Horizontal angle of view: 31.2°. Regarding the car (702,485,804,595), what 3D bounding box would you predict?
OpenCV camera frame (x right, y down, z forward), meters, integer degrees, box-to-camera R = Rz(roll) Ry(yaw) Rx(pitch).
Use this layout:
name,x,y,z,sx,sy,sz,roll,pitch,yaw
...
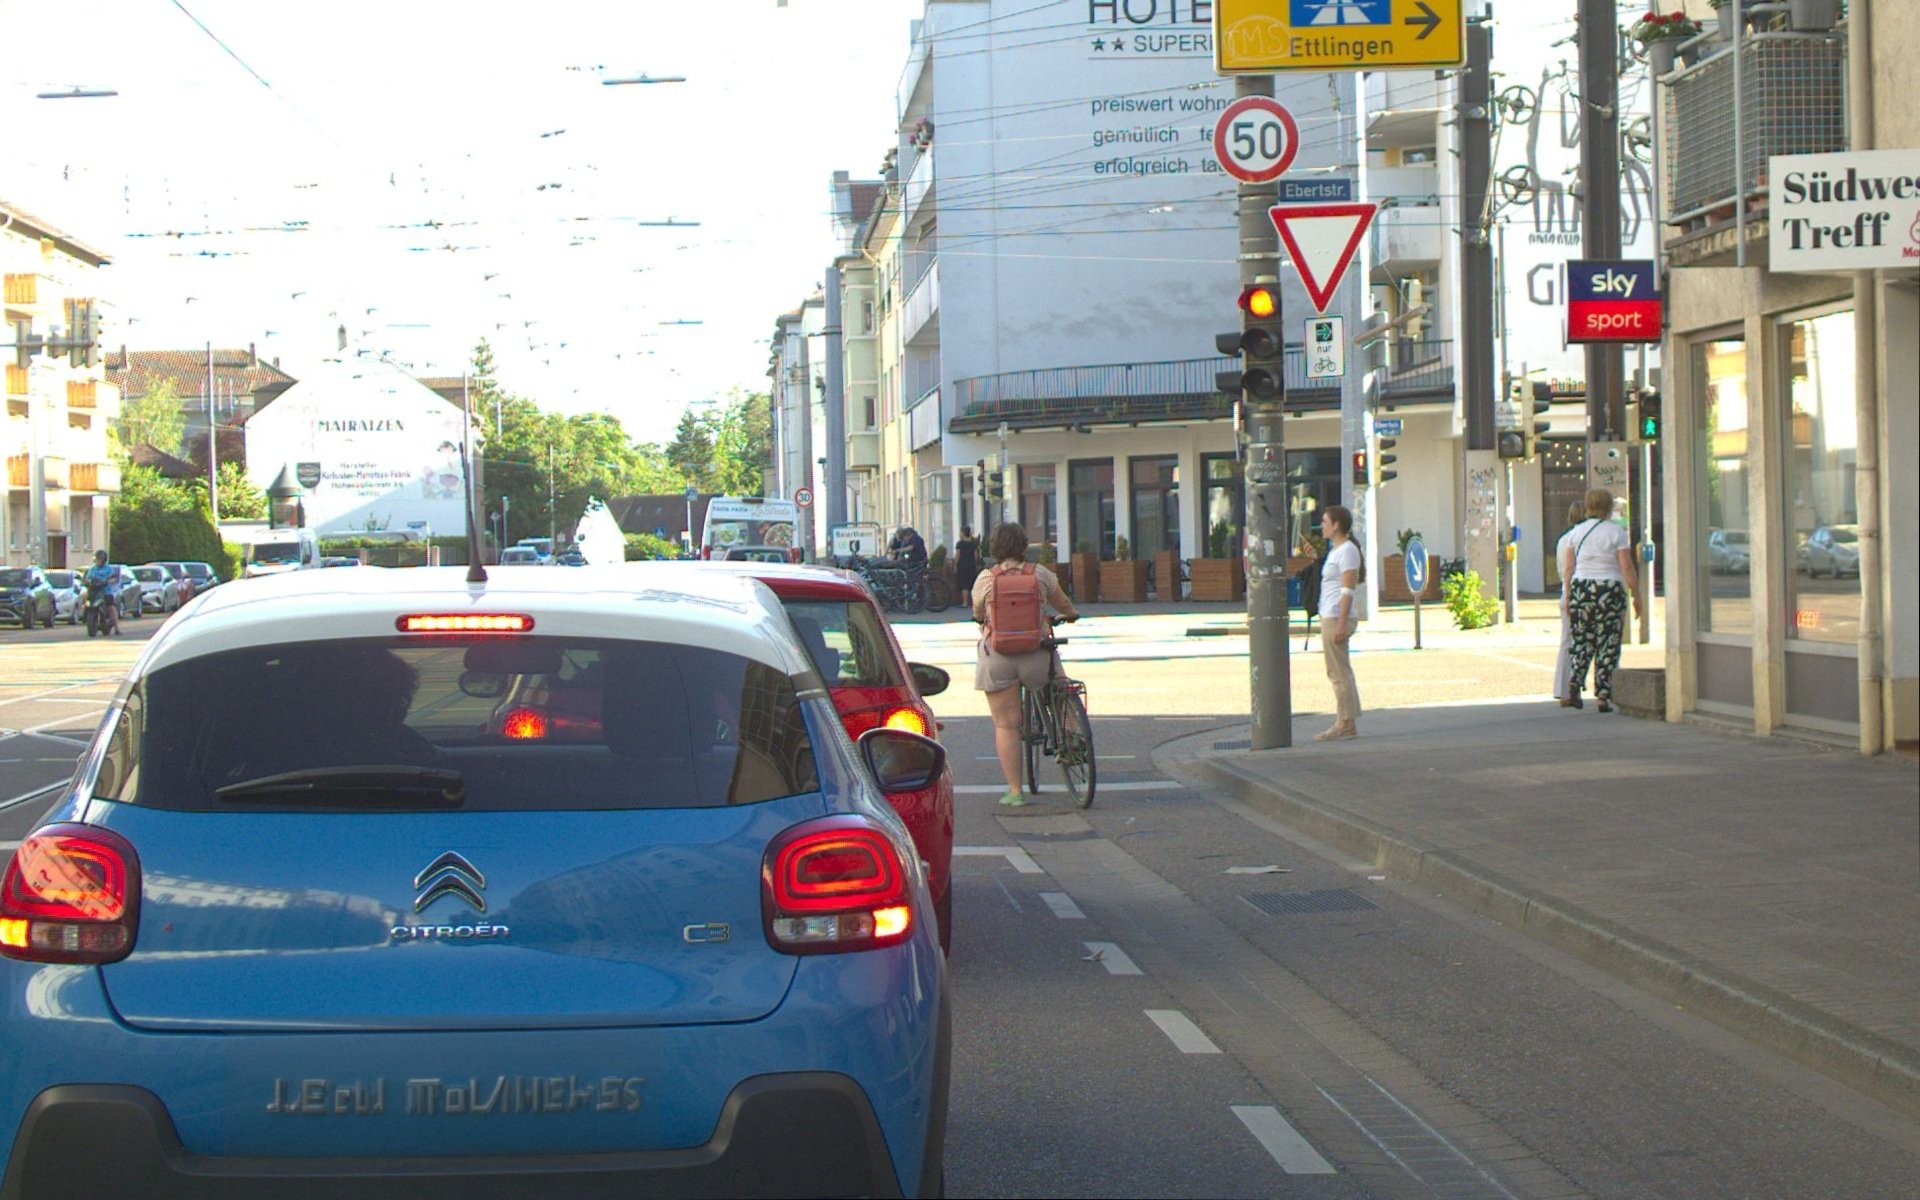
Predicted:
name,x,y,z,sx,sy,sz,roll,pitch,yaw
car,-4.432,-1.284,73.253,2.079,2.262,5.652,0,1,-4

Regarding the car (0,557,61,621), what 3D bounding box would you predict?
name,x,y,z,sx,sy,sz,roll,pitch,yaw
car,-23.786,-0.273,85.899,1.950,1.514,4.001,-1,1,-6

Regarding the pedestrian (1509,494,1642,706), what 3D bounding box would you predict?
name,x,y,z,sx,sy,sz,roll,pitch,yaw
pedestrian,4.881,-0.008,27.275,0.700,1.642,0.740,-2,1,-36

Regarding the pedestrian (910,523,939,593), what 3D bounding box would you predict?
name,x,y,z,sx,sy,sz,roll,pitch,yaw
pedestrian,-0.719,-0.855,70.019,0.467,1.415,0.527,-2,1,-13

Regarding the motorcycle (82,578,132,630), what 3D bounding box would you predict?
name,x,y,z,sx,sy,sz,roll,pitch,yaw
motorcycle,-16.693,0.069,67.297,0.751,0.973,2.098,-1,1,-9

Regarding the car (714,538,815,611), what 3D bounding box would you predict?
name,x,y,z,sx,sy,sz,roll,pitch,yaw
car,-3.881,-0.521,67.817,1.786,1.354,3.915,-1,1,-6

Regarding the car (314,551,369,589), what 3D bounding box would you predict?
name,x,y,z,sx,sy,sz,roll,pitch,yaw
car,-25.983,-1.291,144.578,1.950,1.514,4.001,-1,1,-6

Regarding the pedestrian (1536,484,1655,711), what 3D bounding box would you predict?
name,x,y,z,sx,sy,sz,roll,pitch,yaw
pedestrian,4.700,-0.026,25.394,0.738,1.642,0.753,-1,1,19

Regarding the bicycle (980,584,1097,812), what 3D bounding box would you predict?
name,x,y,z,sx,sy,sz,roll,pitch,yaw
bicycle,0.454,0.558,20.654,0.613,1.260,1.911,-1,1,-1

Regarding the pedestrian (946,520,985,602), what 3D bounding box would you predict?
name,x,y,z,sx,sy,sz,roll,pitch,yaw
pedestrian,0.113,-0.798,70.145,0.553,1.642,0.538,-2,1,-44

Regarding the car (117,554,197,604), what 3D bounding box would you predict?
name,x,y,z,sx,sy,sz,roll,pitch,yaw
car,-25.362,-0.680,108.667,1.950,1.514,4.001,-1,1,-6

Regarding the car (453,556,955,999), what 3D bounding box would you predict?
name,x,y,z,sx,sy,sz,roll,pitch,yaw
car,-0.999,0.577,13.597,1.680,1.457,4.001,0,1,-4

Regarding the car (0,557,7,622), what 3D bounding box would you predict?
name,x,y,z,sx,sy,sz,roll,pitch,yaw
car,-23.320,-0.198,79.235,1.950,1.514,4.001,-1,1,-6

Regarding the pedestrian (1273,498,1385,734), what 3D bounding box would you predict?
name,x,y,z,sx,sy,sz,roll,pitch,yaw
pedestrian,2.614,0.105,24.388,0.751,1.629,0.740,-1,1,6

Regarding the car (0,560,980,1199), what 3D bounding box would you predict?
name,x,y,z,sx,sy,sz,roll,pitch,yaw
car,-0.951,0.669,7.387,1.680,1.457,4.001,0,1,-4

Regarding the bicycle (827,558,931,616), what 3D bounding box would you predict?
name,x,y,z,sx,sy,sz,roll,pitch,yaw
bicycle,-1.556,-0.249,65.827,1.904,1.061,0.642,-1,1,-7

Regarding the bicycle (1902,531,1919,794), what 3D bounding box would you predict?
name,x,y,z,sx,sy,sz,roll,pitch,yaw
bicycle,4.921,0.311,15.766,0.640,1.260,1.911,-1,1,-1

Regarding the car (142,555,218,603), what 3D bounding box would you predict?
name,x,y,z,sx,sy,sz,roll,pitch,yaw
car,-26.072,-0.729,115.009,1.950,1.514,4.001,-1,1,-6

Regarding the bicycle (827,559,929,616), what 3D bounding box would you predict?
name,x,y,z,sx,sy,sz,roll,pitch,yaw
bicycle,-1.605,-0.243,67.133,1.904,1.061,0.642,-1,1,-7

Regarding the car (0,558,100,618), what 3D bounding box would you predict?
name,x,y,z,sx,sy,sz,roll,pitch,yaw
car,-24.307,-0.341,91.957,1.950,1.514,4.001,-1,1,-6

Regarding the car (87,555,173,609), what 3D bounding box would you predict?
name,x,y,z,sx,sy,sz,roll,pitch,yaw
car,-24.928,-0.549,103.388,1.950,1.514,4.001,-1,1,-6

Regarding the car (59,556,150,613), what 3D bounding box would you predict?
name,x,y,z,sx,sy,sz,roll,pitch,yaw
car,-24.460,-0.464,98.384,1.950,1.514,4.001,-1,1,-6

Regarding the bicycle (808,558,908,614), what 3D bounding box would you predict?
name,x,y,z,sx,sy,sz,roll,pitch,yaw
bicycle,-2.025,-0.281,68.325,1.904,1.061,0.642,-1,1,-7

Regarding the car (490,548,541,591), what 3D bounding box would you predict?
name,x,y,z,sx,sy,sz,roll,pitch,yaw
car,-22.054,-1.515,170.851,2.338,2.032,5.051,-1,1,-6

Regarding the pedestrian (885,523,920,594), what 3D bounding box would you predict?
name,x,y,z,sx,sy,sz,roll,pitch,yaw
pedestrian,-1.174,-0.851,70.210,0.525,1.415,0.546,-1,1,20

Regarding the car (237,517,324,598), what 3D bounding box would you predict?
name,x,y,z,sx,sy,sz,roll,pitch,yaw
car,-23.666,-1.512,119.945,2.493,2.703,5.839,-1,1,-7

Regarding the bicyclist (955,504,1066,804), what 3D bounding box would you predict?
name,x,y,z,sx,sy,sz,roll,pitch,yaw
bicyclist,0.297,0.302,20.612,0.600,1.740,1.084,-1,1,-1

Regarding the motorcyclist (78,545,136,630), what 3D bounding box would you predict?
name,x,y,z,sx,sy,sz,roll,pitch,yaw
motorcyclist,-16.673,-0.256,67.223,0.991,1.625,0.739,-1,1,-9
